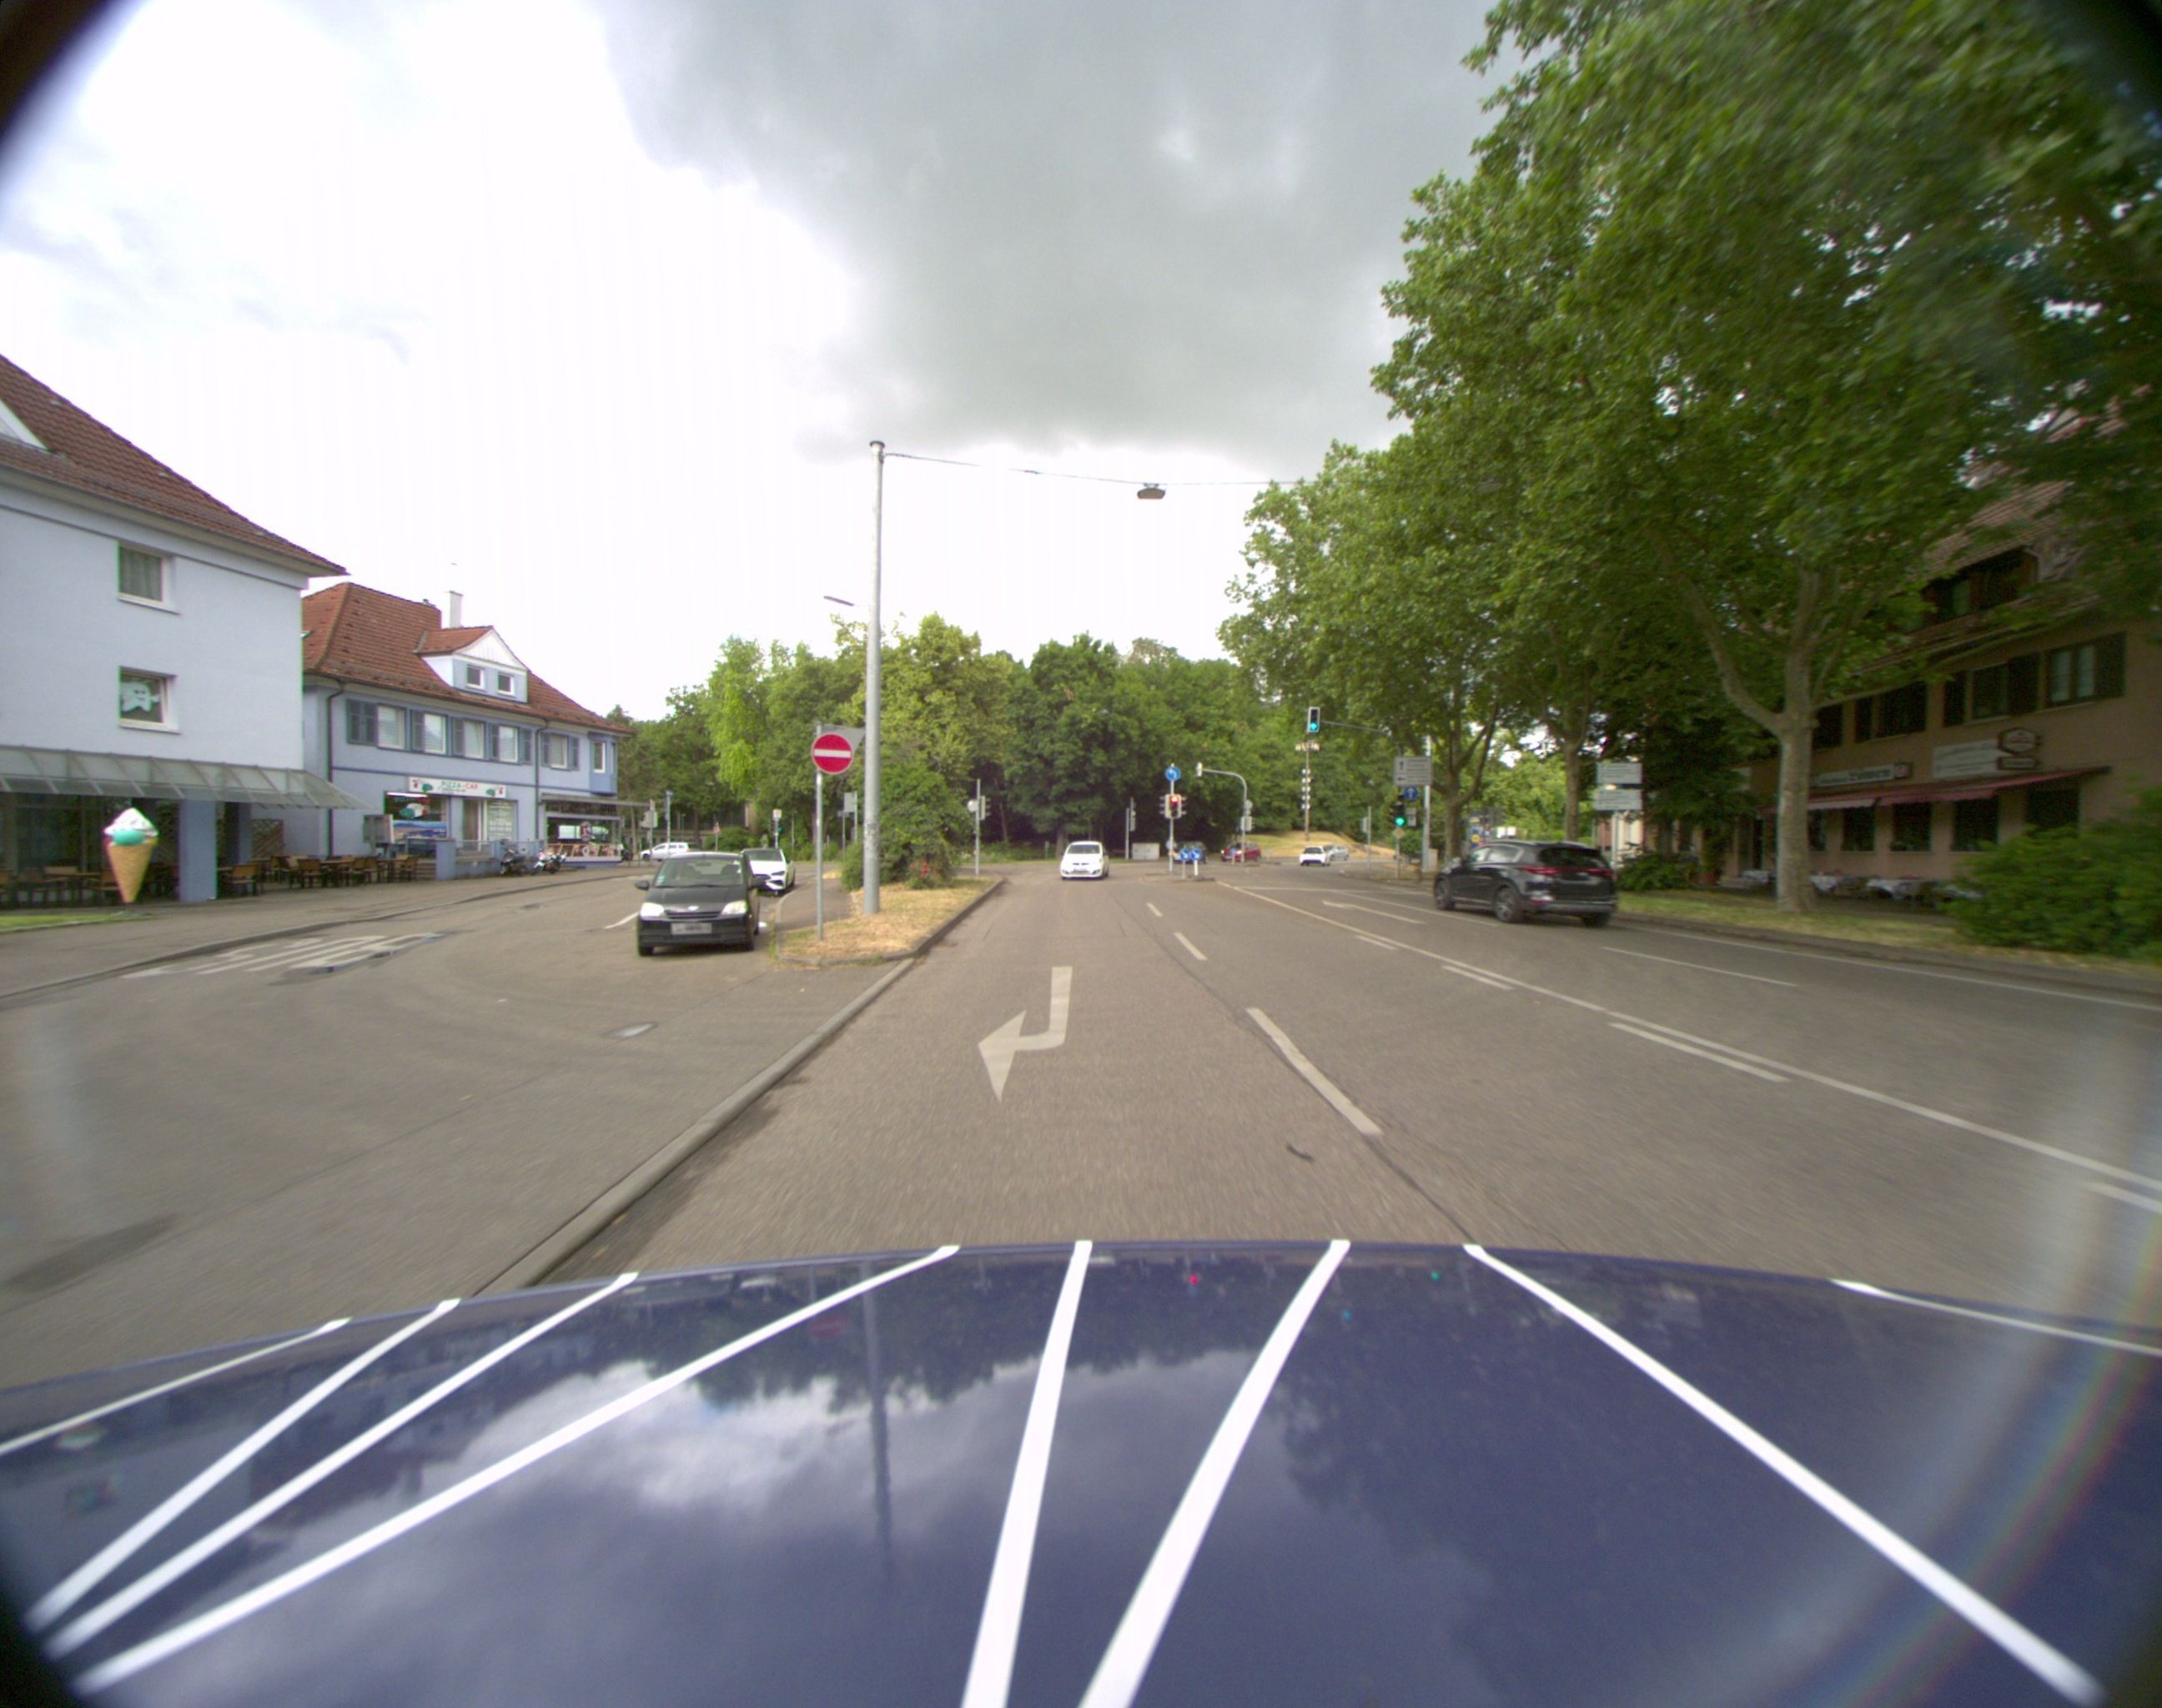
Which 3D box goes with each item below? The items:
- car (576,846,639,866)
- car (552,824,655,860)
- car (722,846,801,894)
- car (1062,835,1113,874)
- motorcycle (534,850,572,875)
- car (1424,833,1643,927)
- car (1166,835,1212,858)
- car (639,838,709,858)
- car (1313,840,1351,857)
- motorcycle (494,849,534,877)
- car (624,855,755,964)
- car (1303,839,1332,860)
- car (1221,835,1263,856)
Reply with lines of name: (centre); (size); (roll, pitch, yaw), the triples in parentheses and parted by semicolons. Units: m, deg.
car: (-36.548, 0.173, 58.681); (3.951, 1.448, 1.803); (1, 2, 12)
car: (-32.683, -0.859, 52.117); (5.948, 2.378, 2.338); (1, 2, 11)
car: (-10.752, 0.480, 25.882); (2.002, 1.379, 4.779); (0, 2, -17)
car: (0.315, -0.009, 30.684); (1.627, 1.499, 4.002); (0, 1, 7)
motorcycle: (-21.857, 0.332, 31.486); (0.522, 0.980, 1.821); (0, 1, -9)
car: (8.978, 0.438, 15.616); (1.801, 1.578, 4.414); (3, 1, 0)
car: (7.512, -0.522, 52.451); (1.726, 1.512, 4.007); (2, 2, 31)
car: (-30.781, -0.499, 57.483); (4.538, 1.448, 1.902); (1, 2, 12)
car: (24.920, -0.545, 75.308); (4.008, 1.560, 1.779); (-1, 2, -41)
motorcycle: (-21.737, 0.331, 29.172); (0.490, 1.025, 1.723); (0, 1, -9)
car: (-5.961, 0.729, 11.869); (1.575, 1.396, 3.487); (0, 1, -24)
car: (17.539, -0.370, 56.218); (1.764, 1.458, 4.027); (2, 2, 20)
car: (13.098, -0.706, 61.593); (1.671, 1.632, 4.109); (2, 2, 38)
